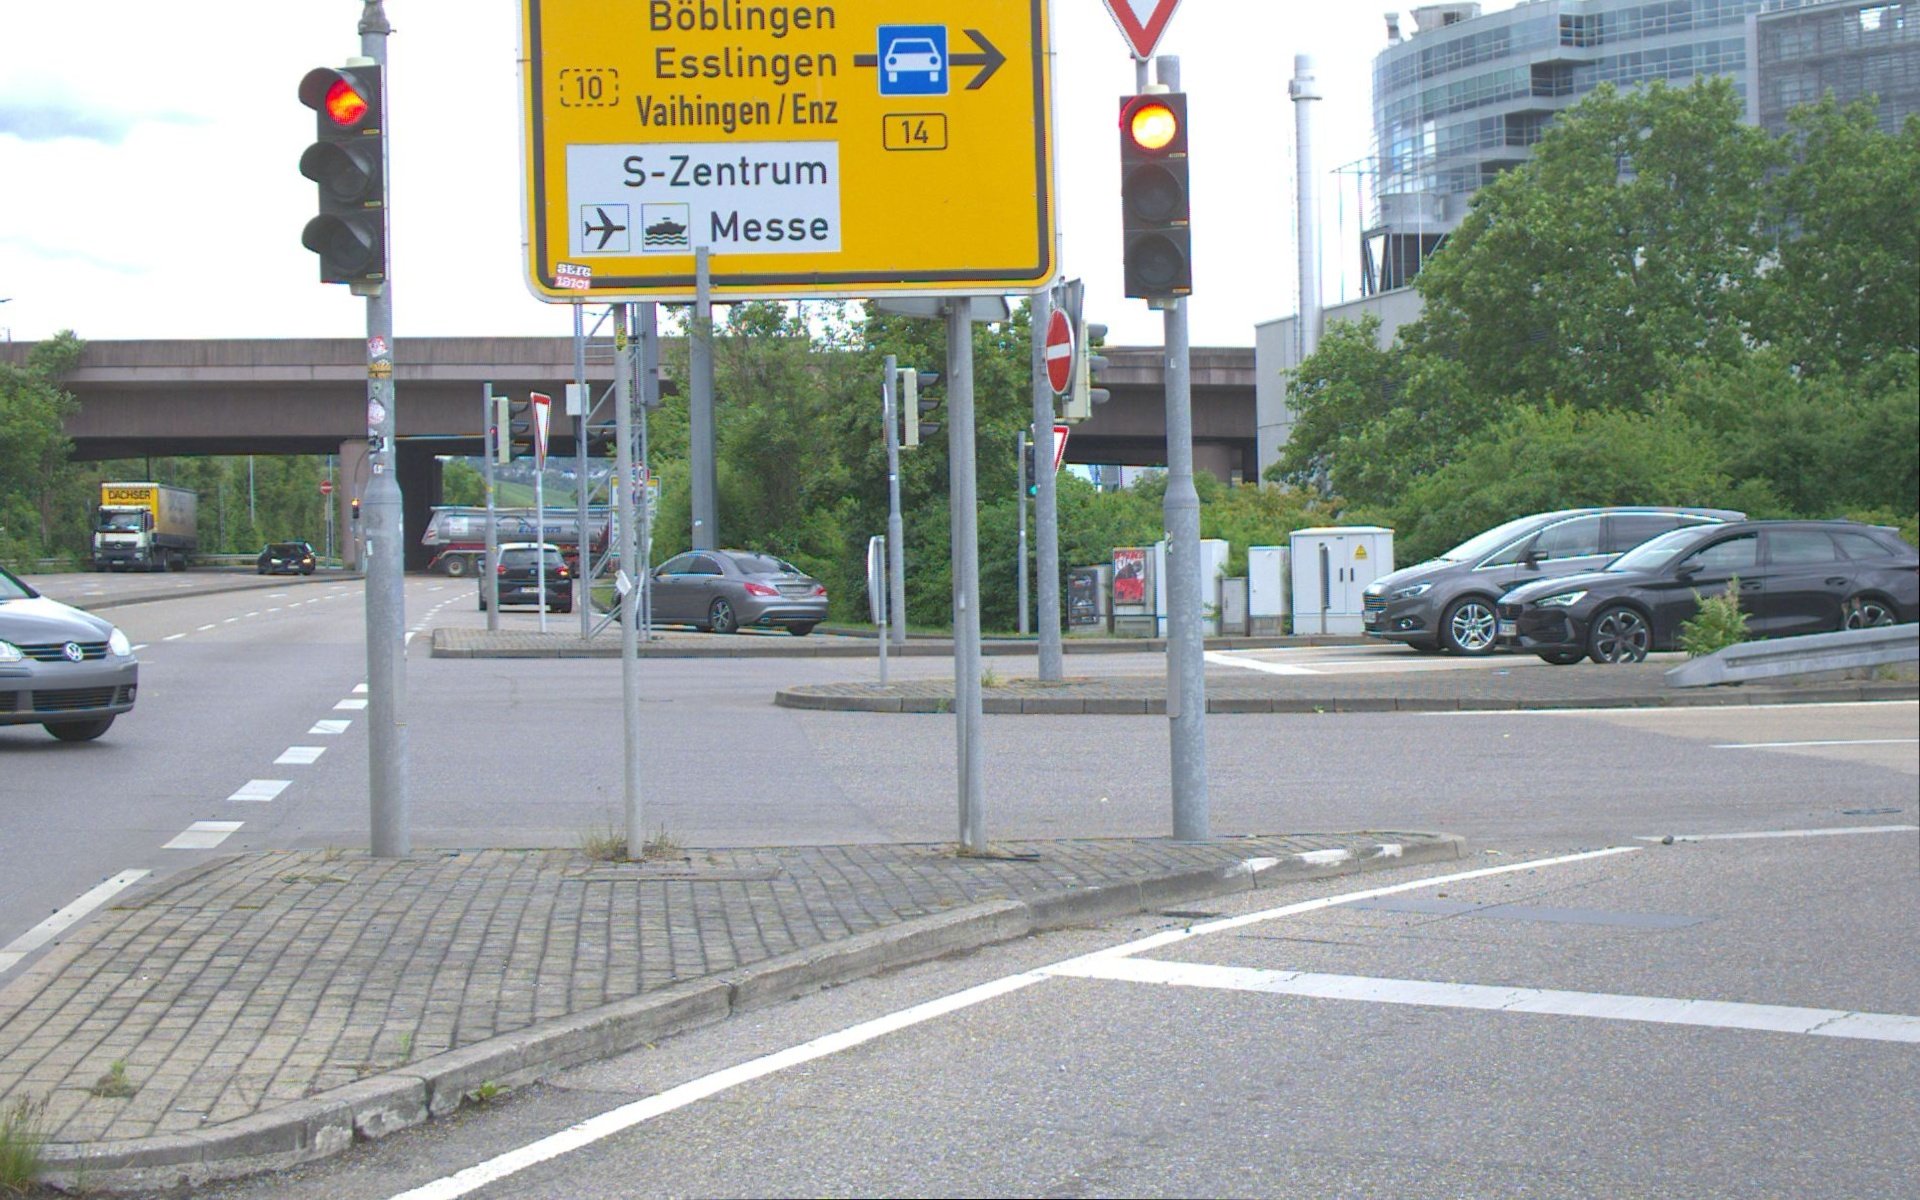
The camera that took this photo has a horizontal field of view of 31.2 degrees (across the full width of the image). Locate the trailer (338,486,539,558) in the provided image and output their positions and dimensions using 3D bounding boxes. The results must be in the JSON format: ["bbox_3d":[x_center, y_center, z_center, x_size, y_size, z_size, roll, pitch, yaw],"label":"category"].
[{"bbox_3d":[-22.903,-3.433,151.346,8.539,2.615,2.610,4,1,-7],"label":"trailer"}]

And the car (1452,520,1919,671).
[{"bbox_3d":[7.587,-0.074,35.367,4.604,1.452,1.956,0,2,-11],"label":"car"}]

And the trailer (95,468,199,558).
[{"bbox_3d":[-38.906,-4.200,164.890,2.871,4.070,11.429,2,2,-4],"label":"trailer"}]

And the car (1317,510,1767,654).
[{"bbox_3d":[6.616,-0.230,39.313,4.677,1.566,1.956,0,2,-9],"label":"car"}]

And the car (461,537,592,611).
[{"bbox_3d":[-9.093,-0.527,71.902,1.993,1.459,4.111,1,-1,-18],"label":"car"}]

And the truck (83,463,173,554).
[{"bbox_3d":[-38.618,-4.269,159.734,2.871,4.070,6.488,2,2,-4],"label":"truck"}]

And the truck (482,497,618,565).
[{"bbox_3d":[-18.086,-3.033,151.841,5.759,2.615,2.621,4,1,-6],"label":"truck"}]

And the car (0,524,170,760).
[{"bbox_3d":[-7.548,0.190,23.683,4.239,1.456,1.726,3,3,36],"label":"car"}]

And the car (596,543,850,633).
[{"bbox_3d":[-4.008,-0.184,57.705,4.107,1.437,1.995,0,-1,44],"label":"car"}]
